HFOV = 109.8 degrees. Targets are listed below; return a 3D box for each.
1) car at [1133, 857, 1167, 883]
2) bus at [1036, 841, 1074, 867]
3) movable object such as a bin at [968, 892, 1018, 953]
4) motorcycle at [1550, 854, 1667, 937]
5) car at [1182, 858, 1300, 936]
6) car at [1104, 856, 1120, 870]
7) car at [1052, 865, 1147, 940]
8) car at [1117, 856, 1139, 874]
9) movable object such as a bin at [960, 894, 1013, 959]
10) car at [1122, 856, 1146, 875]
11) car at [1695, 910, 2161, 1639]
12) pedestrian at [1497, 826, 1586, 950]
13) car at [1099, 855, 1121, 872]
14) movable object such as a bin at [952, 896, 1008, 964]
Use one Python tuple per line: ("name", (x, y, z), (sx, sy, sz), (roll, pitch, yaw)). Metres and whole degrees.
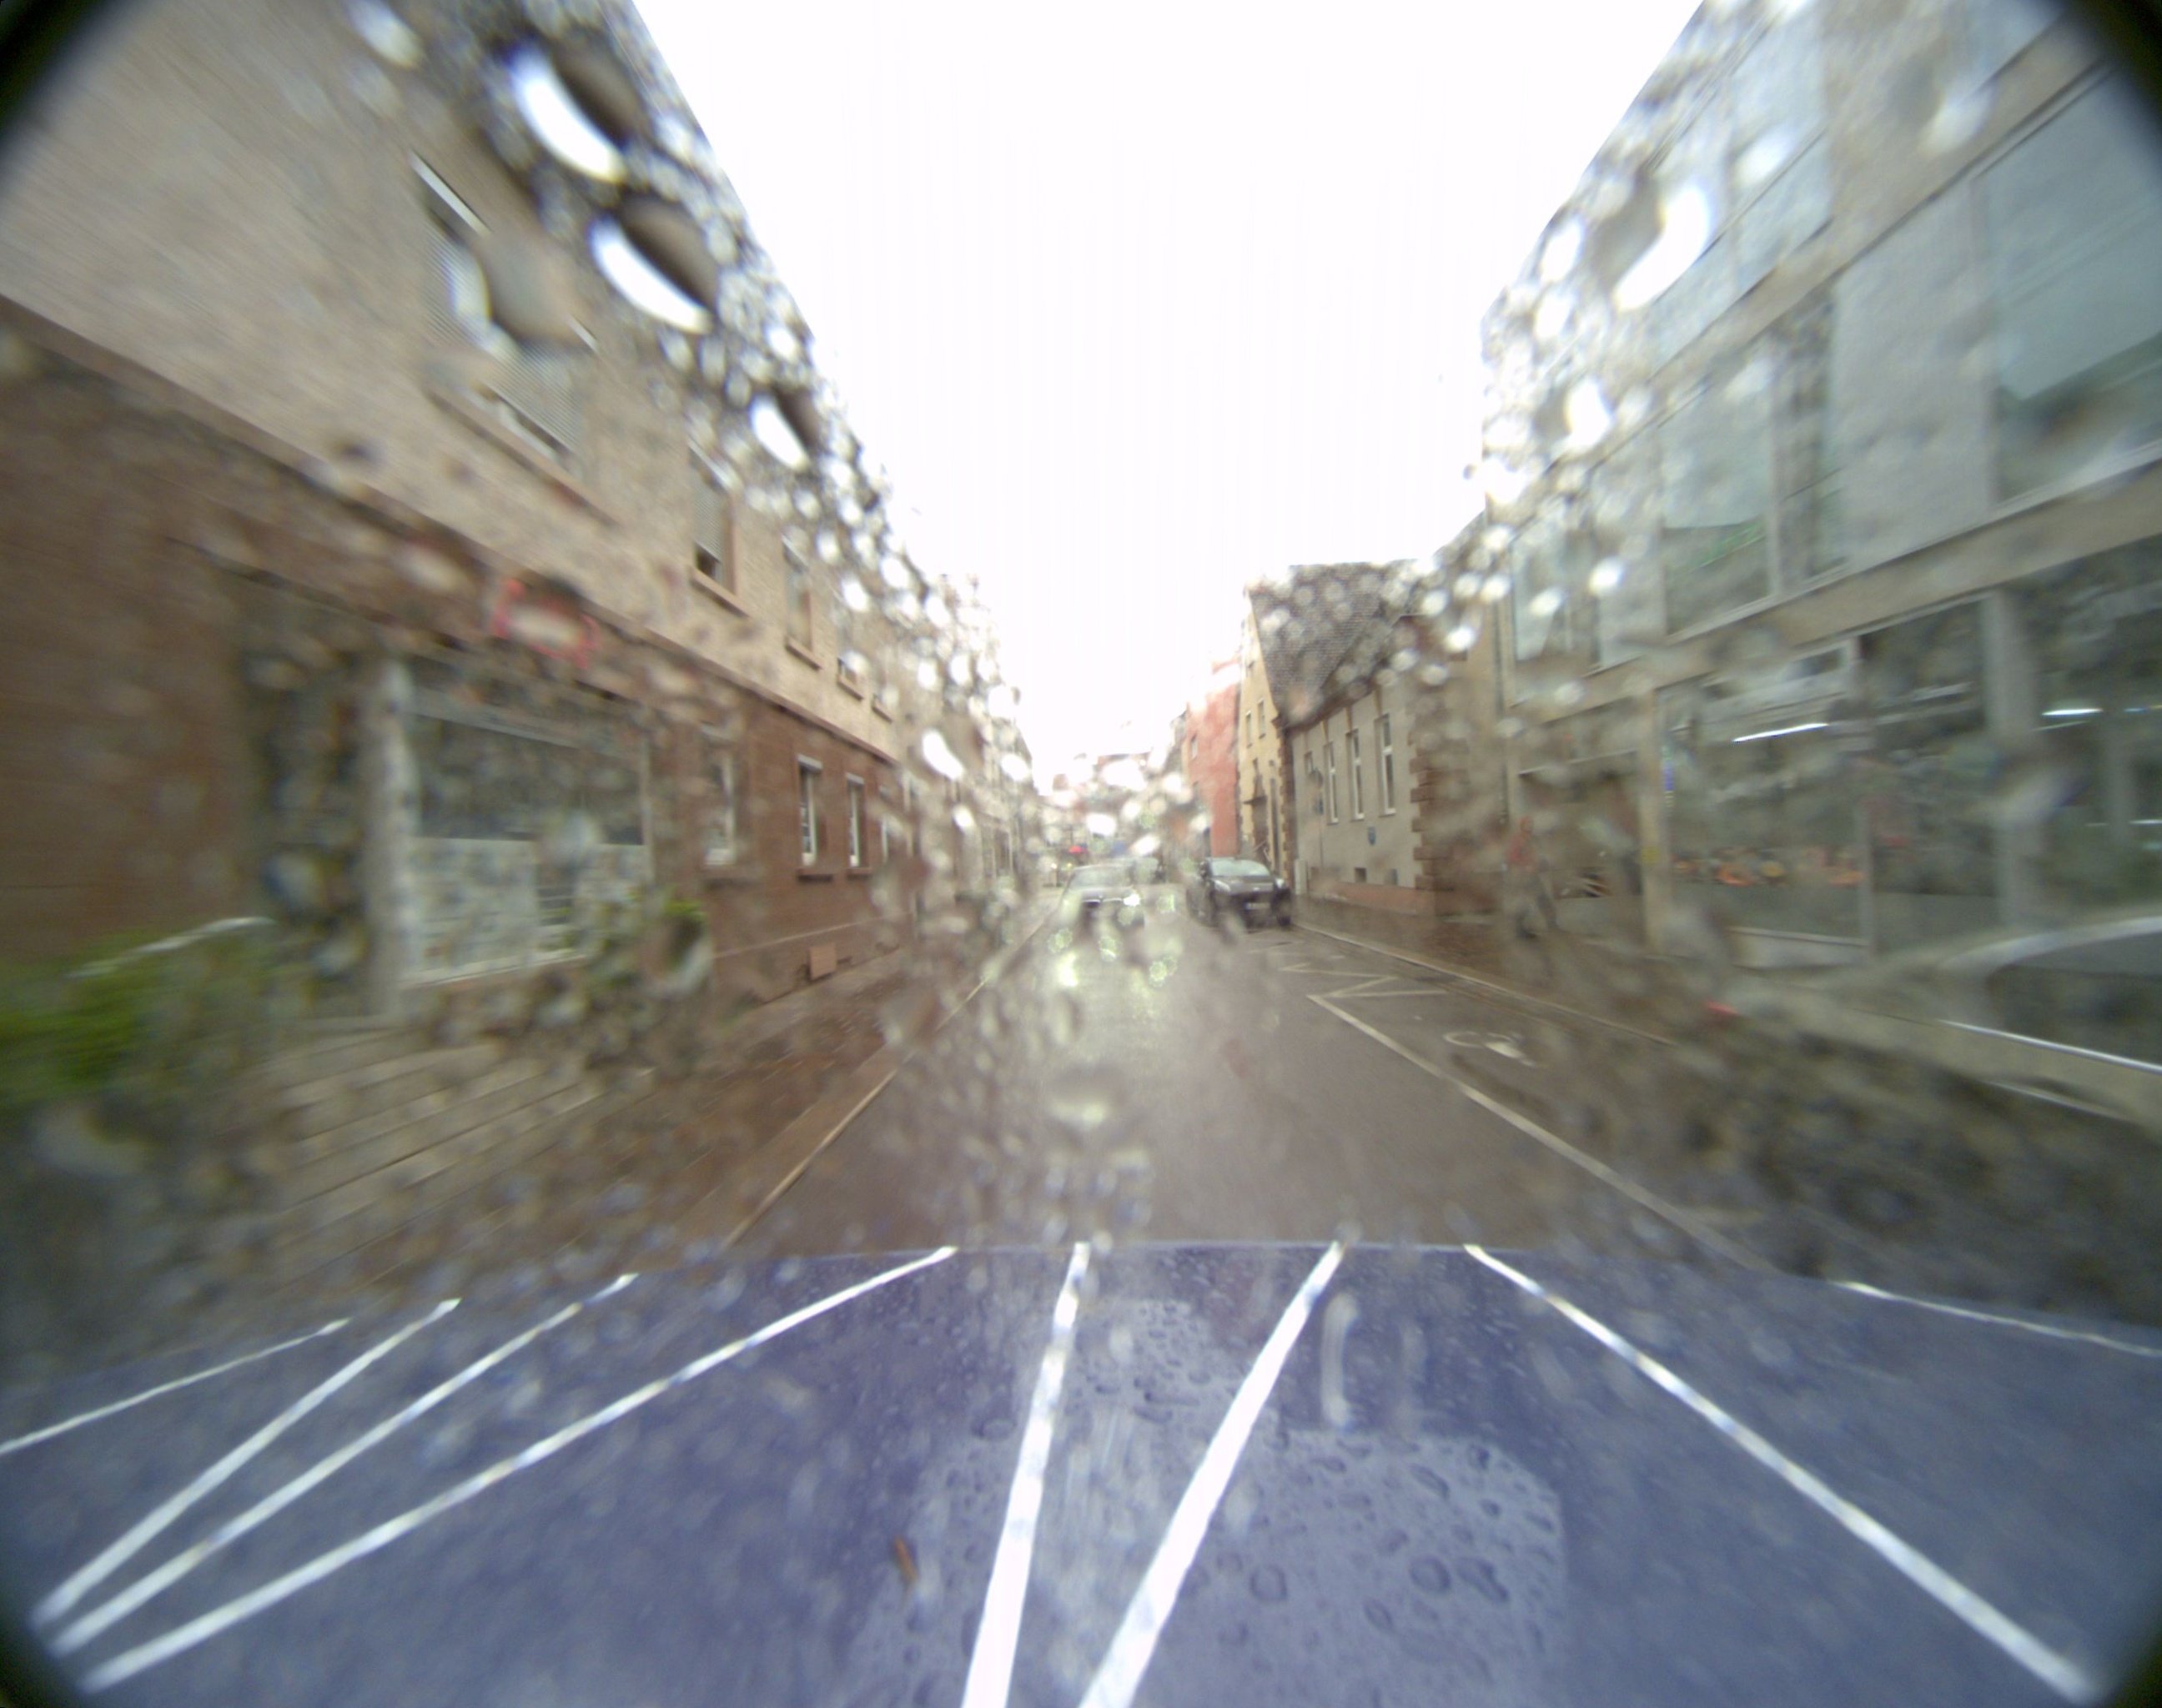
("car", (3.868, 0.885, 42.990), (1.631, 1.359, 3.489), (-3, 0, 1))
("bus", (-3.481, 0.075, 100.524), (2.615, 3.175, 7.363), (-3, 0, -22))
("movable object such as a bin", (-1.585, 1.234, 13.746), (0.734, 1.016, 0.639), (-3, 0, 3))
("motorcycle", (8.659, 0.666, 12.511), (1.510, 1.283, 0.536), (-2, 1, 1))
("car", (3.560, 0.897, 17.602), (1.739, 1.516, 3.930), (-2, 0, -2))
("car", (3.300, 0.922, 80.895), (1.631, 1.359, 3.489), (-3, 0, 1))
("car", (0.519, 1.058, 18.244), (1.946, 1.394, 4.421), (-3, 0, 3))
("car", (4.001, 0.942, 64.898), (1.631, 1.359, 3.489), (-3, 0, 1))
("movable object such as a bin", (-1.617, 1.236, 13.087), (0.734, 1.016, 0.639), (-3, 0, 3))
("car", (4.166, 0.888, 60.153), (1.631, 1.359, 3.489), (-3, 0, 1))
("car", (3.017, 0.892, 0.469), (1.760, 1.348, 4.483), (-3, 0, 3))
("pedestrian", (6.815, 0.508, 11.296), (1.006, 1.766, 0.552), (-4, 1, 27))
("car", (2.834, 0.936, 75.928), (1.998, 1.586, 4.000), (-2, 0, 1))
("movable object such as a bin", (-1.640, 1.221, 12.410), (0.734, 1.016, 0.639), (-3, 0, 3))
